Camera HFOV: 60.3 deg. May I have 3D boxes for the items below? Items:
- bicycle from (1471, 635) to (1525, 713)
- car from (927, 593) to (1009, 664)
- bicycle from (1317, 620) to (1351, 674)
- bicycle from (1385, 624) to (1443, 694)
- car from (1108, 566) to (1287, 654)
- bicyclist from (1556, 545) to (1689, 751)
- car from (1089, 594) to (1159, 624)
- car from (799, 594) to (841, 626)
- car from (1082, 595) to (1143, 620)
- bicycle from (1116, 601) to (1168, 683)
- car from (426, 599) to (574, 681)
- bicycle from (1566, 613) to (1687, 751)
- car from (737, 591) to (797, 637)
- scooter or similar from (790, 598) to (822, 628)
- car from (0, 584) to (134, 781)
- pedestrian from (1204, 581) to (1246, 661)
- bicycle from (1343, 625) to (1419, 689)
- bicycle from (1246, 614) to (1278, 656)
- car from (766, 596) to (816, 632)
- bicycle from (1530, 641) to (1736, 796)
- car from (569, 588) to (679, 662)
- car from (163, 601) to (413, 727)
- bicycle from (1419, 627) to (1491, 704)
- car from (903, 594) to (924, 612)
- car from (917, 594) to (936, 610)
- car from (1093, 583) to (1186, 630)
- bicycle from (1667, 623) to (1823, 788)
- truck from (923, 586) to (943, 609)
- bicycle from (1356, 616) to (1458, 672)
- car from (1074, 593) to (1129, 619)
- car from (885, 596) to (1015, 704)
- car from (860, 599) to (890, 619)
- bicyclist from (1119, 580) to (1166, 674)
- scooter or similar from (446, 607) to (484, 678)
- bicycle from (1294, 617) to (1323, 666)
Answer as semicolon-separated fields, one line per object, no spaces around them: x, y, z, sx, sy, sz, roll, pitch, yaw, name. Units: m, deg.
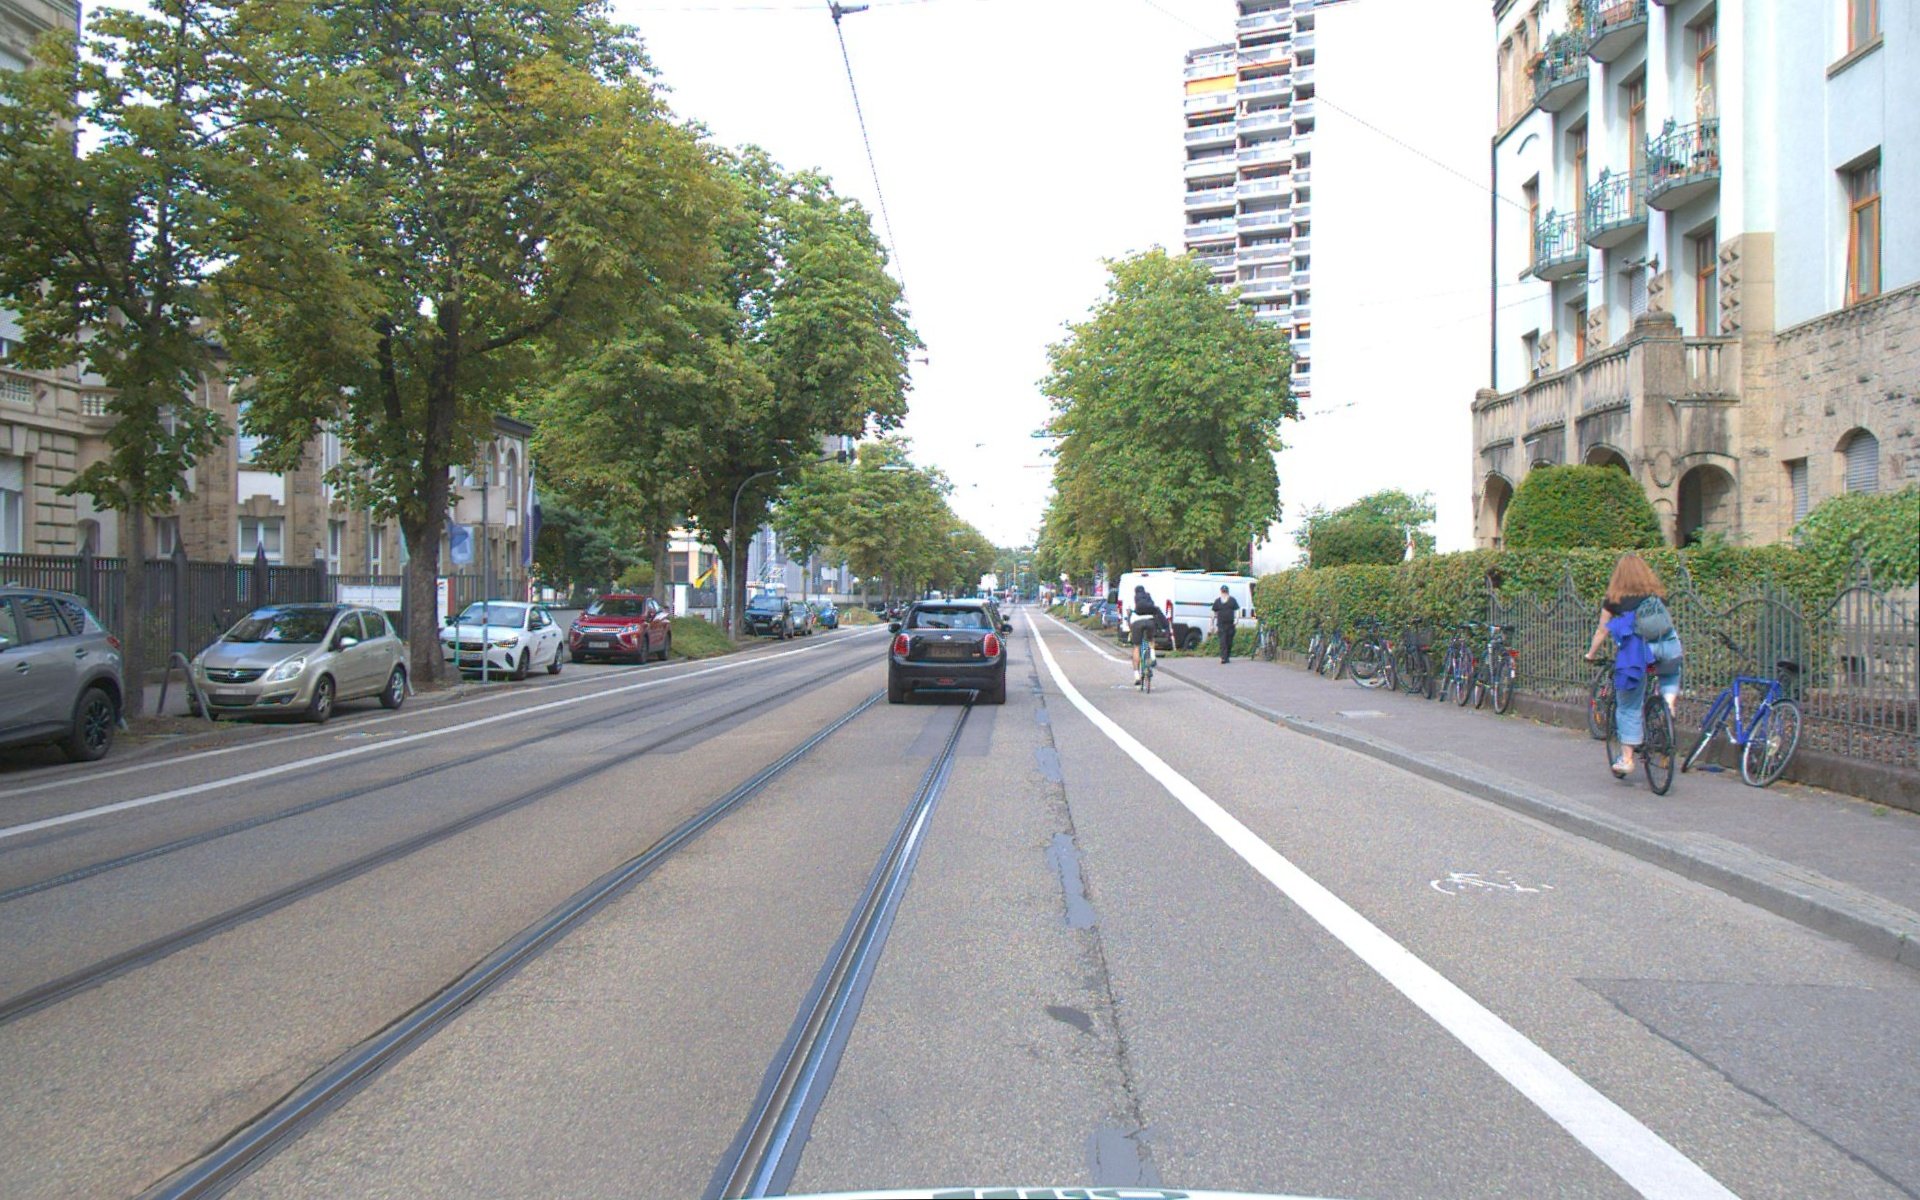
6.347;0.863;19.542;0.272;0.867;1.198;-1;-1;2;bicycle
0.133;0.607;38.220;1.757;1.496;3.999;2;0;-1;car
6.660;0.825;29.480;0.378;0.923;1.666;-1;0;6;bicycle
6.336;0.811;23.142;0.475;0.923;1.666;-1;0;5;bicycle
6.674;0.276;46.198;4.915;2.330;2.349;1;0;-41;car
5.031;0.351;12.601;0.634;1.495;0.800;-2;0;-1;bicyclist
8.591;0.480;86.563;3.710;1.549;1.614;1;0;-44;car
-6.986;0.492;82.702;1.658;1.513;3.678;1;0;1;car
9.238;0.442;100.080;3.498;1.468;1.602;0;0;-37;car
2.990;0.667;27.334;0.644;1.270;2.125;1;0;1;bicycle
-9.022;0.737;32.745;1.686;1.448;4.024;2;0;1;car
6.139;0.722;15.328;0.383;1.162;1.921;-1;0;2;bicycle
-7.440;0.515;64.007;1.719;1.676;4.053;1;0;1;car
-7.313;0.618;78.507;1.413;1.367;0.700;-1;0;3;scooter or similar
-9.161;0.710;14.375;1.675;1.703;4.358;0;0;1;car
6.009;0.458;37.538;0.769;1.763;0.896;-2;0;1;pedestrian
6.358;0.848;25.055;0.477;0.923;1.661;-1;-1;-9;bicycle
6.890;0.778;37.738;0.378;0.923;1.842;-1;0;0;bicycle
-7.211;0.590;70.862;1.658;1.452;3.869;1;0;1;car
5.052;0.853;12.572;0.674;0.979;2.036;-3;0;0;bicycle
-8.354;0.596;41.463;1.686;1.684;4.543;2;0;1;car
-8.800;0.774;22.035;1.567;1.494;4.080;0;0;1;car
6.372;0.826;21.354;0.475;0.923;1.665;-1;0;2;bicycle
-4.353;0.291;156.828;1.765;1.611;4.032;-1;0;1;car
-3.581;0.192;177.251;1.765;1.611;4.032;-1;0;1;car
7.969;0.298;73.270;4.242;2.050;1.802;1;0;-44;car
5.949;0.761;12.618;0.383;1.122;1.760;-1;0;2;bicycle
-3.114;-0.304;190.339;2.028;2.513;4.900;-1;0;1;truck
7.721;0.762;28.616;1.625;0.923;0.487;-1;-1;0;bicycle
9.082;0.369;106.109;3.410;1.600;1.540;0;0;-37;car
-0.149;0.674;24.554;1.757;1.448;4.000;1;0;0;car
-5.992;0.623;116.554;1.765;1.398;4.032;-1;0;1;car
2.993;0.430;27.224;0.644;1.489;1.178;1;0;1;bicyclist
-8.930;0.754;29.803;0.553;1.244;1.315;0;0;-21;scooter or similar
6.837;0.810;32.468;0.378;0.923;1.666;-1;0;6;bicycle
